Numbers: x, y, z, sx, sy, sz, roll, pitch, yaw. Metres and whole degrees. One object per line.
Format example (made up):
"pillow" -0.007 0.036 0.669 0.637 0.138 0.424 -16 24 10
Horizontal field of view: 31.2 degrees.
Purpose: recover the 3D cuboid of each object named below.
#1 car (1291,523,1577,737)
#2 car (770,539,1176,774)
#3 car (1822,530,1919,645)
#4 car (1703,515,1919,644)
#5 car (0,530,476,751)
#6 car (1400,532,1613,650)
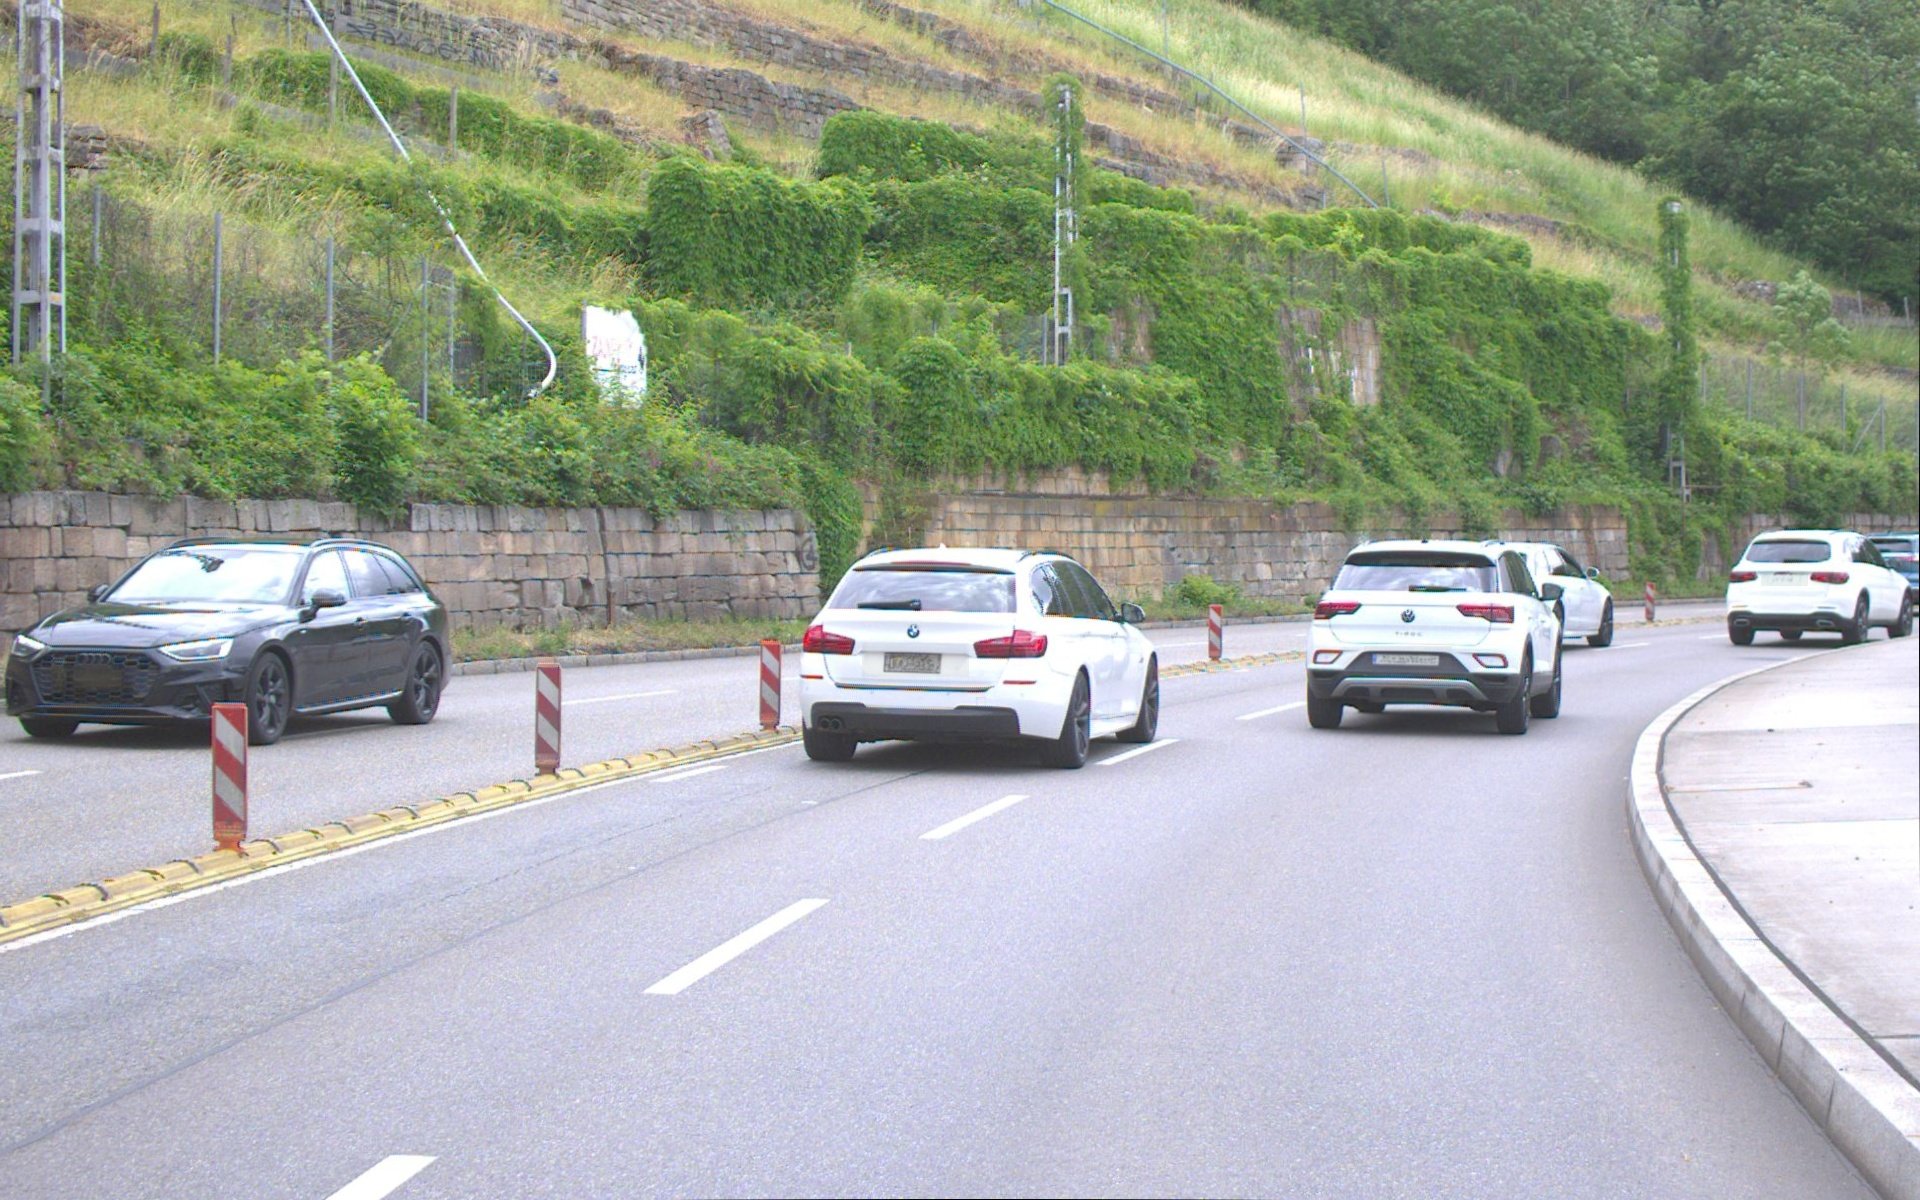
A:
"car" 4.066 0.197 29.015 1.829 1.600 3.997 3 2 15
"car" 0.206 0.336 24.193 1.829 1.454 4.483 1 1 14
"car" 17.686 -0.245 64.407 1.996 2.007 3.994 -3 -1 28
"car" 12.307 -0.255 49.484 1.997 1.712 4.107 -2 -2 29
"car" -5.257 0.223 25.006 1.852 1.408 4.412 2 2 15
"car" 7.414 -0.136 46.263 1.995 1.498 4.663 0 1 20
